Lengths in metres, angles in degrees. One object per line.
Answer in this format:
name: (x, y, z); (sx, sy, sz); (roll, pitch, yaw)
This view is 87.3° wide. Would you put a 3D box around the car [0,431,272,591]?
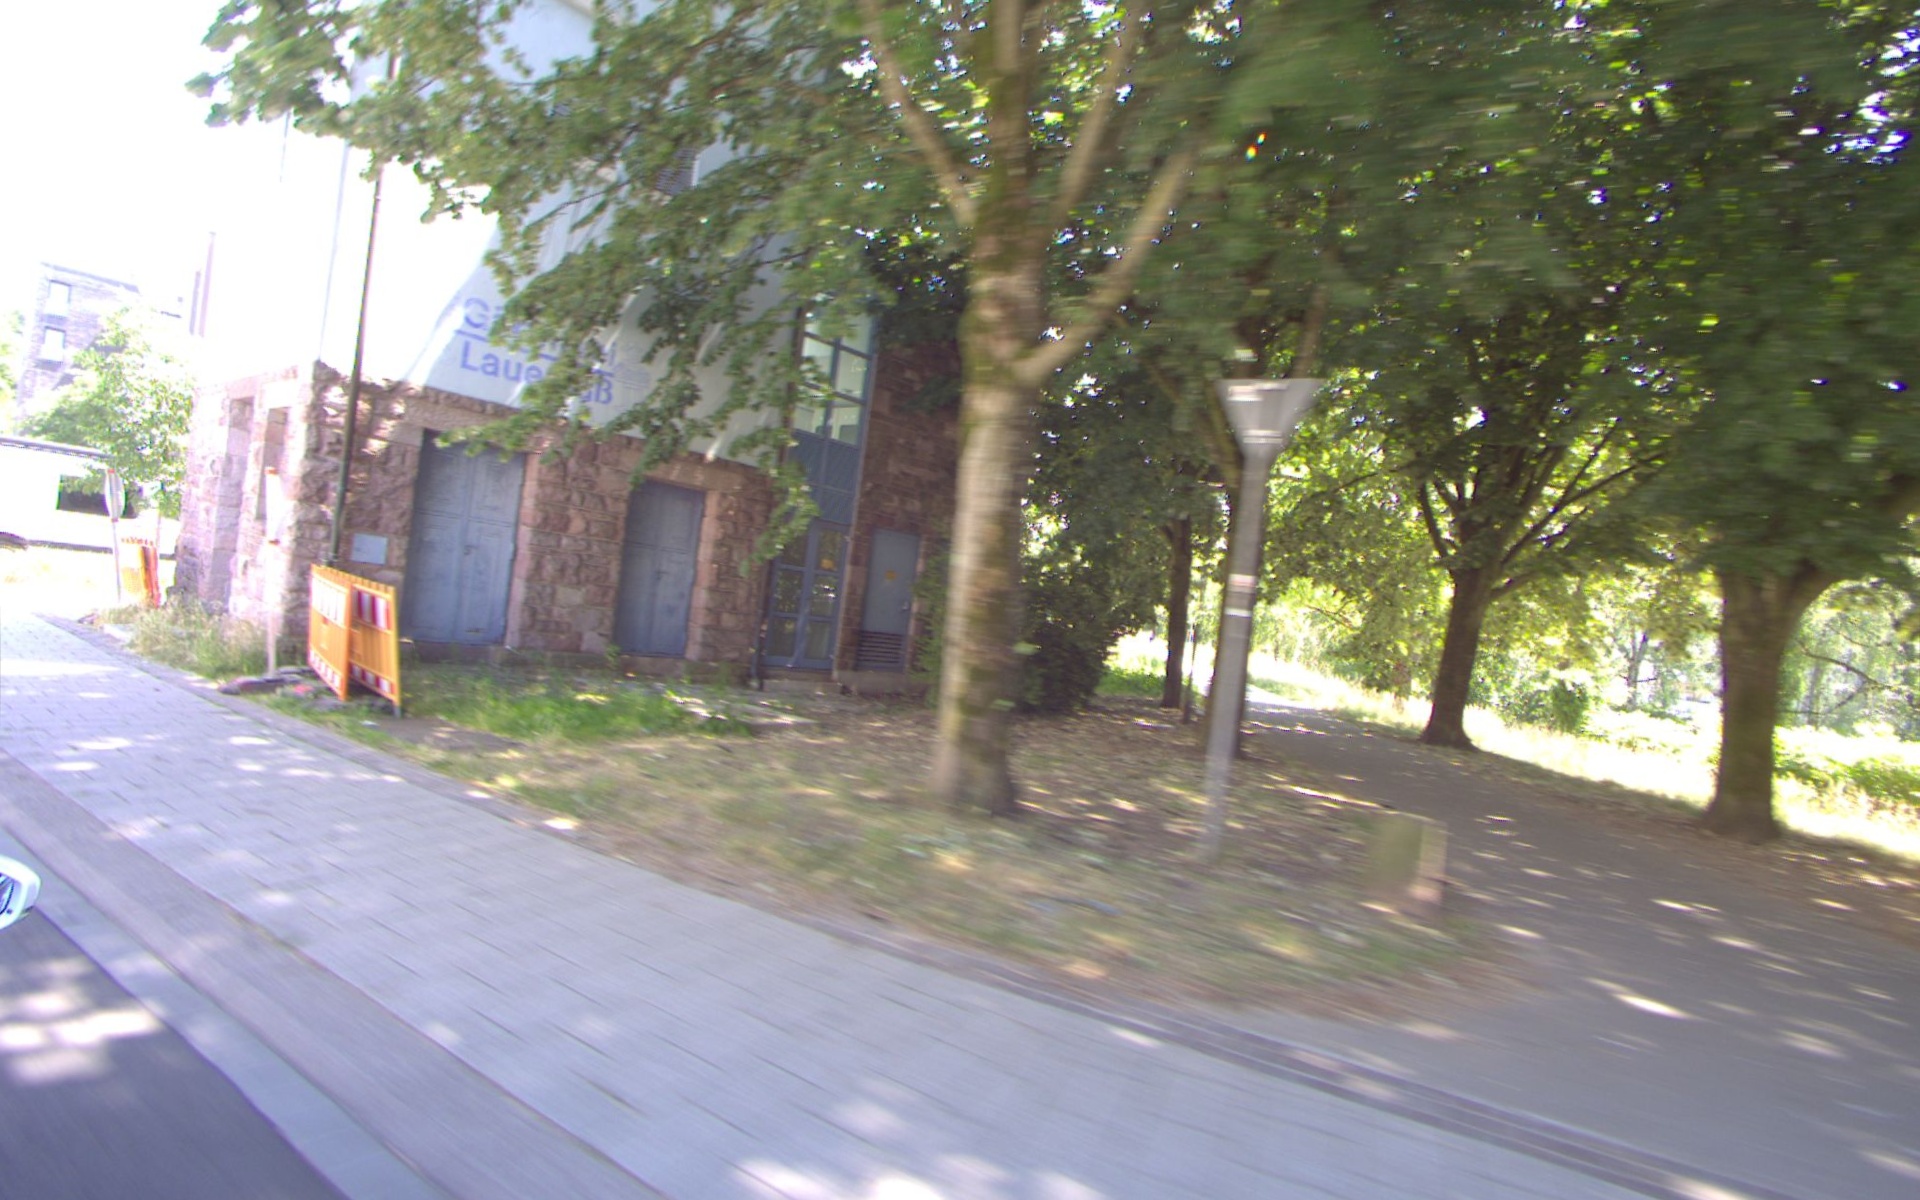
car: (-19.130, -1.956, 22.286); (2.168, 2.765, 5.926); (7, 0, 44)
